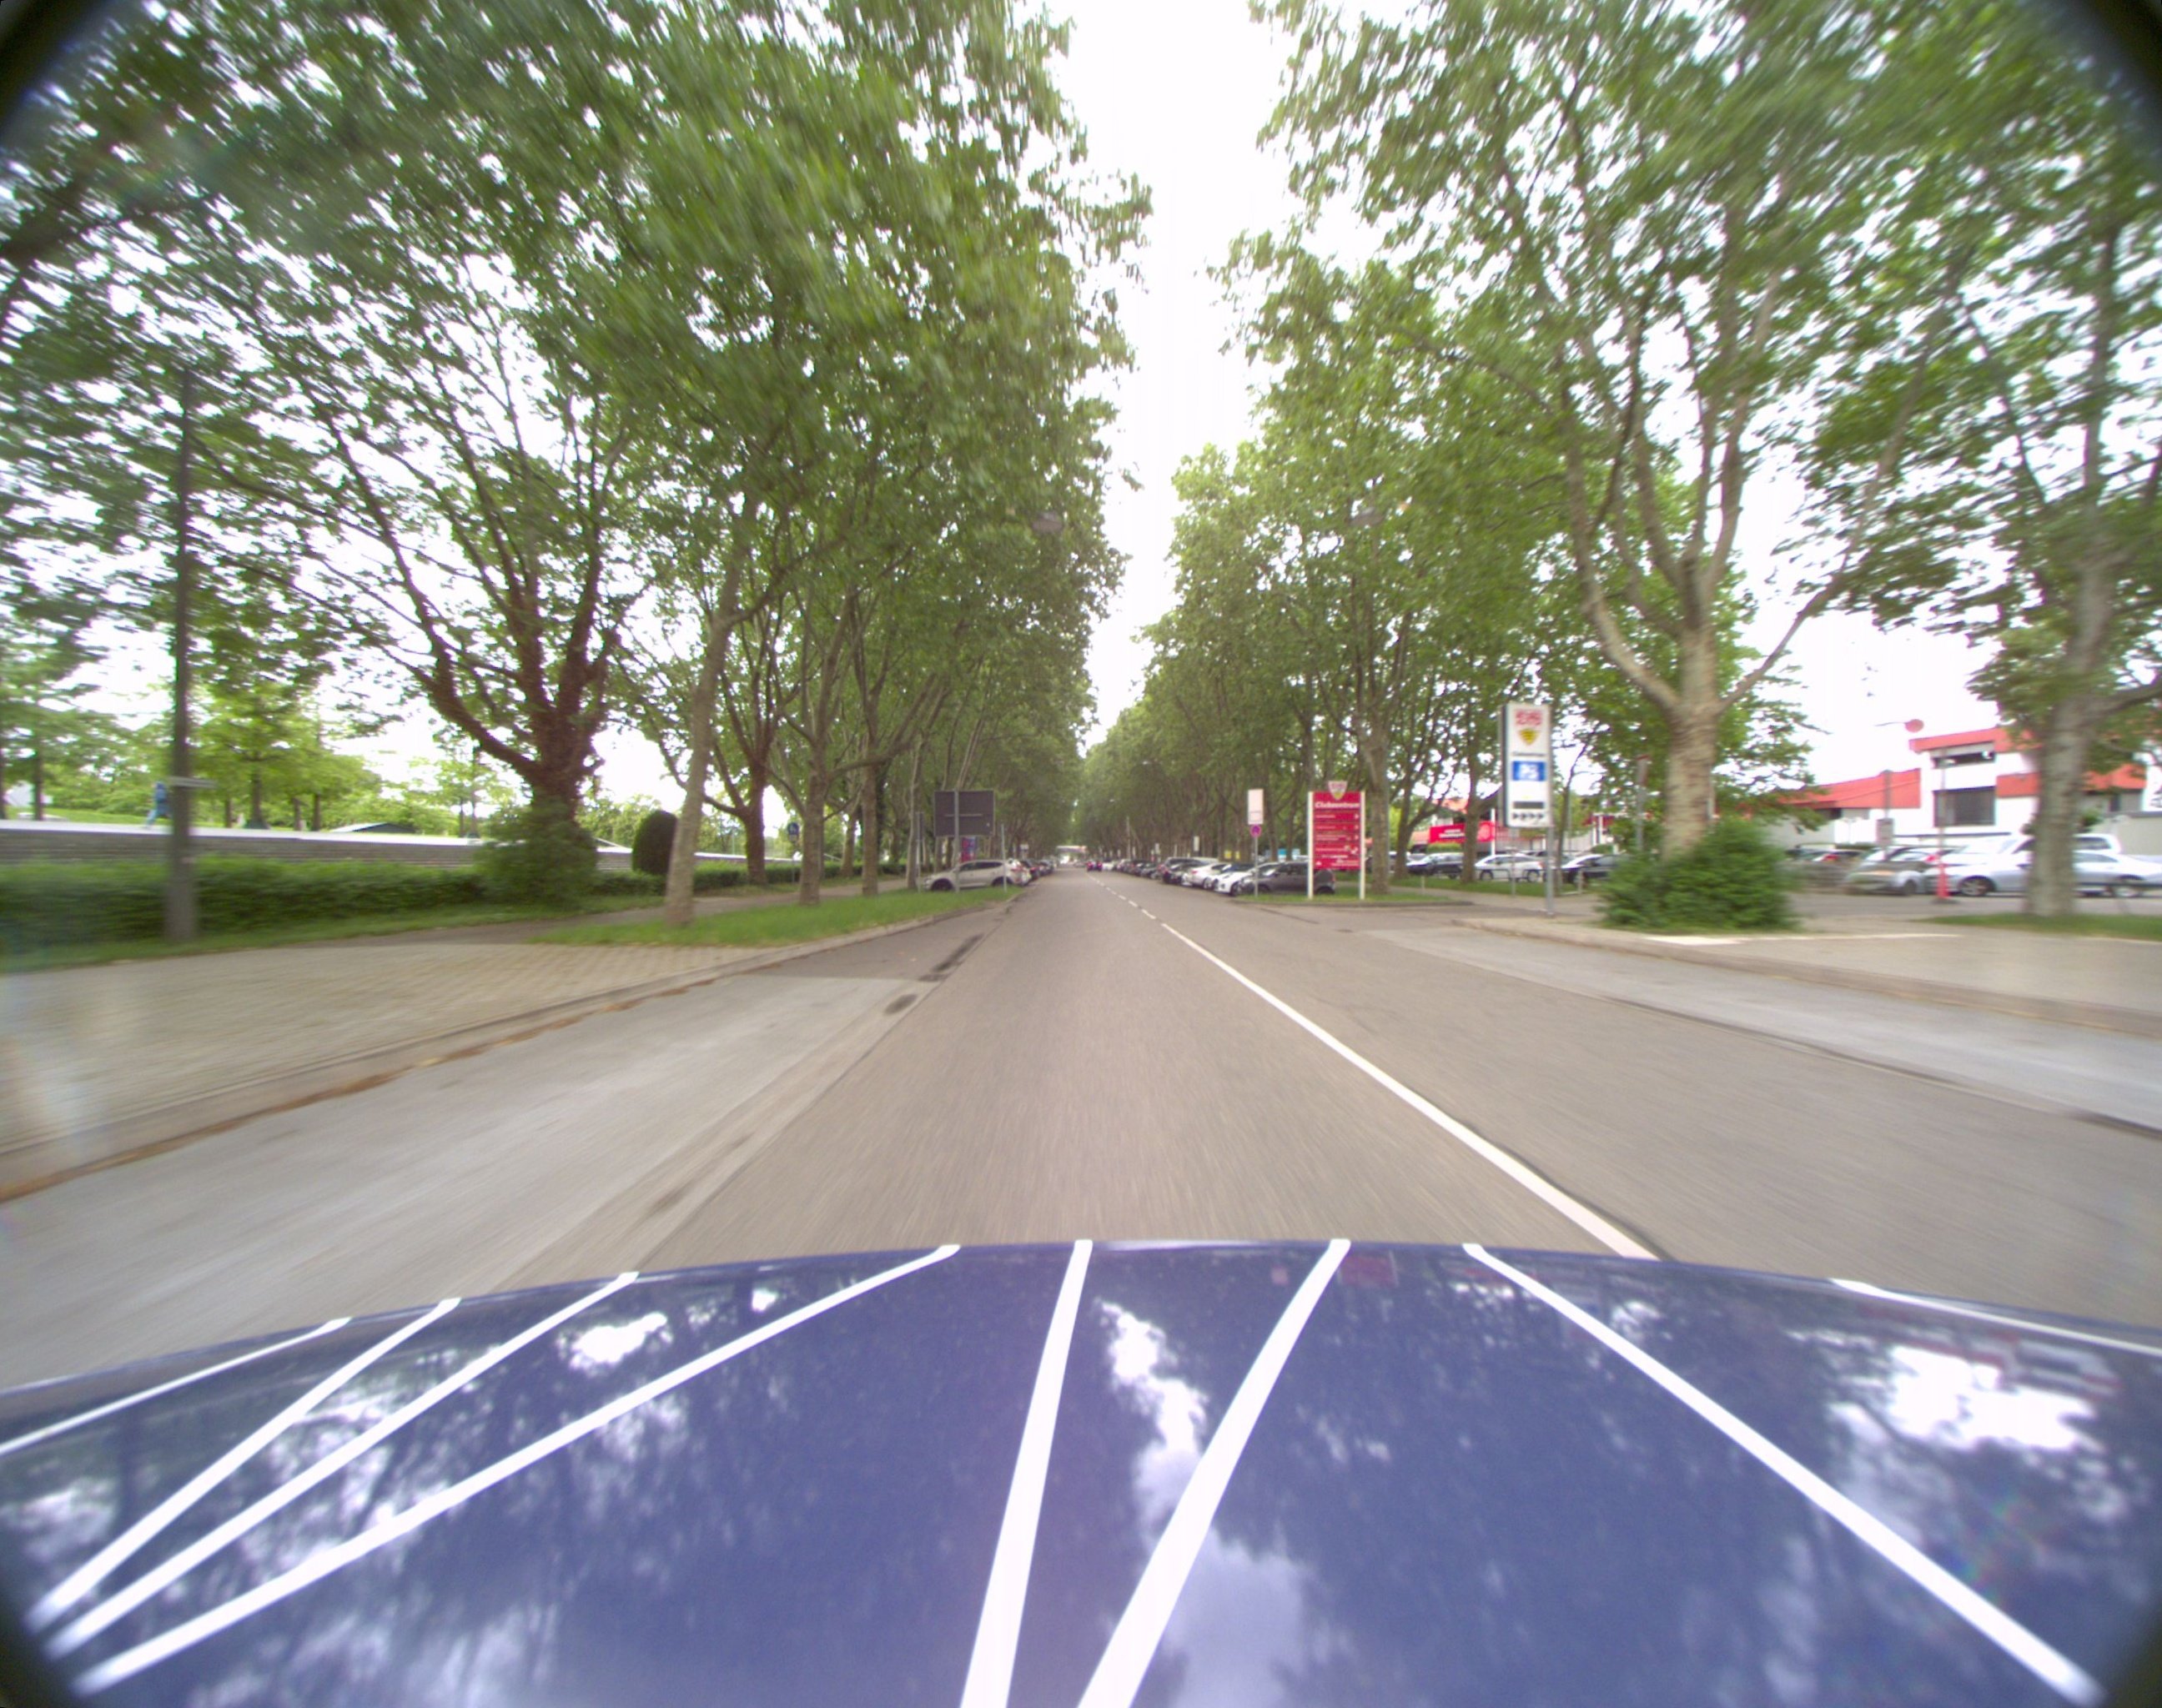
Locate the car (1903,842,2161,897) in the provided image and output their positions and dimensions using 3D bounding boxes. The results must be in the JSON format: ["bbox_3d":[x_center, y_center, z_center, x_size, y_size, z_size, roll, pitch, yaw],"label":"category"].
[{"bbox_3d":[29.325,0.467,23.489,4.964,1.543,2.104,-1,1,34],"label":"car"}]

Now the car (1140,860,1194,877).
[{"bbox_3d":[7.587,1.237,67.251,4.475,1.358,1.859,2,0,-2],"label":"car"}]

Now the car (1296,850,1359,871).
[{"bbox_3d":[22.291,0.600,68.883,4.955,1.786,2.182,0,0,-3],"label":"car"}]

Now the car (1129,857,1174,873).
[{"bbox_3d":[6.453,0.968,69.883,3.941,1.390,1.703,1,0,-2],"label":"car"}]

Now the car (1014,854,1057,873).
[{"bbox_3d":[-4.900,1.015,81.833,4.507,1.786,2.047,-2,0,-1],"label":"car"}]

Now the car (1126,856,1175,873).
[{"bbox_3d":[6.594,1.008,72.338,4.475,1.473,1.703,1,0,-2],"label":"car"}]

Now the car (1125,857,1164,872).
[{"bbox_3d":[6.672,1.126,79.983,3.940,1.507,1.728,1,0,0],"label":"car"}]

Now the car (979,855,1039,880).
[{"bbox_3d":[-5.429,1.017,57.449,4.358,1.735,1.836,-2,0,-3],"label":"car"}]

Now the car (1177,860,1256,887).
[{"bbox_3d":[7.549,1.078,42.546,3.998,1.396,1.885,-1,1,-2],"label":"car"}]

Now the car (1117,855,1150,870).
[{"bbox_3d":[6.535,1.065,95.033,3.997,1.672,1.855,-1,1,0],"label":"car"}]

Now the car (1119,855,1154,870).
[{"bbox_3d":[6.566,1.037,90.145,3.997,1.672,1.855,-1,1,0],"label":"car"}]

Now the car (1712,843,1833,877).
[{"bbox_3d":[34.395,0.291,37.868,4.332,1.539,1.958,-1,1,-2],"label":"car"}]

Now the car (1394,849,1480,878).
[{"bbox_3d":[23.044,0.622,49.345,4.530,1.752,2.296,-1,1,-2],"label":"car"}]

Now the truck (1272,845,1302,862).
[{"bbox_3d":[33.322,-0.115,123.017,3.998,2.701,2.376,-1,1,-2],"label":"truck"}]

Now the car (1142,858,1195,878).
[{"bbox_3d":[6.876,1.104,60.055,3.988,1.412,1.756,2,0,2],"label":"car"}]

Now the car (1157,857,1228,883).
[{"bbox_3d":[6.906,0.991,47.438,4.139,1.443,2.013,2,0,1],"label":"car"}]

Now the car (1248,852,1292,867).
[{"bbox_3d":[22.014,0.629,88.616,4.565,1.710,1.999,1,0,-3],"label":"car"}]

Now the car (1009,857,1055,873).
[{"bbox_3d":[-4.941,1.093,77.152,4.507,1.420,1.932,-2,0,0],"label":"car"}]

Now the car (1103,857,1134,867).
[{"bbox_3d":[5.480,1.162,112.201,4.420,1.416,1.775,1,0,-2],"label":"car"}]

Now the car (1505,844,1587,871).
[{"bbox_3d":[34.050,0.247,55.714,4.588,1.844,2.297,-1,1,4],"label":"car"}]

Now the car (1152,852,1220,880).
[{"bbox_3d":[7.186,0.799,52.399,4.330,1.799,1.867,1,0,-5],"label":"car"}]

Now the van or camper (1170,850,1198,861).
[{"bbox_3d":[21.249,0.256,156.590,5.300,2.087,2.243,-1,1,-3],"label":"van or camper"}]

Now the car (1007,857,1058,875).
[{"bbox_3d":[-4.335,1.111,68.806,4.356,1.493,1.926,-2,0,2],"label":"car"}]

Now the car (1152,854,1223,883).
[{"bbox_3d":[6.953,0.934,49.880,4.328,1.784,2.036,-1,1,-1],"label":"car"}]

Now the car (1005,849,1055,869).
[{"bbox_3d":[-4.807,0.494,72.141,4.505,1.786,2.048,-2,0,3],"label":"car"}]

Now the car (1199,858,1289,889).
[{"bbox_3d":[7.914,0.933,37.186,3.997,1.397,1.861,-1,1,-1],"label":"car"}]

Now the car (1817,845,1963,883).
[{"bbox_3d":[35.088,0.412,33.027,4.332,1.539,1.958,-1,1,-2],"label":"car"}]

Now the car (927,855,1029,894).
[{"bbox_3d":[-4.659,0.916,34.880,4.357,1.624,1.925,-2,0,-1],"label":"car"}]

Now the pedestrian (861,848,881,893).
[{"bbox_3d":[-9.560,0.755,34.598,0.788,2.002,0.598,-1,1,-17],"label":"pedestrian"}]

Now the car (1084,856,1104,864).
[{"bbox_3d":[3.125,1.447,179.883,4.492,1.740,2.000,-3,0,4],"label":"car"}]

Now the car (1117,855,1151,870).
[{"bbox_3d":[6.387,1.026,92.605,3.997,1.672,1.855,-1,1,0],"label":"car"}]

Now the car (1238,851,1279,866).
[{"bbox_3d":[21.944,0.603,94.135,4.565,1.710,1.999,1,0,-3],"label":"car"}]

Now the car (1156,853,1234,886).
[{"bbox_3d":[6.788,0.914,45.421,4.329,1.799,1.867,1,0,-1],"label":"car"}]

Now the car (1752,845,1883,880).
[{"bbox_3d":[34.364,0.376,35.545,4.332,1.539,1.958,-1,1,-2],"label":"car"}]

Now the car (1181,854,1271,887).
[{"bbox_3d":[7.555,0.834,39.921,4.275,1.539,1.907,2,0,-3],"label":"car"}]

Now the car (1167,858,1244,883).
[{"bbox_3d":[7.339,0.963,45.020,4.201,1.346,1.966,-1,1,-3],"label":"car"}]

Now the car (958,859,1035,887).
[{"bbox_3d":[-4.927,1.108,44.868,4.358,1.447,1.949,-2,0,-3],"label":"car"}]

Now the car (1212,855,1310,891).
[{"bbox_3d":[8.187,0.849,34.792,4.004,1.485,1.832,-1,1,-1],"label":"car"}]

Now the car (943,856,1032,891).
[{"bbox_3d":[-4.851,1.020,39.931,4.357,1.624,1.925,-2,0,-1],"label":"car"}]

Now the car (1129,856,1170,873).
[{"bbox_3d":[6.999,1.057,77.492,3.941,1.698,1.752,1,0,-2],"label":"car"}]

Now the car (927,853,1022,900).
[{"bbox_3d":[-4.822,1.009,34.844,3.997,2.002,2.000,-2,0,-1],"label":"car"}]

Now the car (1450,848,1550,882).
[{"bbox_3d":[22.988,0.585,41.836,4.332,1.699,2.131,-1,1,-2],"label":"car"}]

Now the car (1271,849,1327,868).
[{"bbox_3d":[21.938,0.406,76.634,4.955,1.786,2.182,-1,1,-3],"label":"car"}]

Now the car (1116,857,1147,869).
[{"bbox_3d":[6.614,1.191,99.974,3.997,1.444,1.855,-1,1,0],"label":"car"}]

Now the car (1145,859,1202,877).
[{"bbox_3d":[7.582,1.128,62.504,4.475,1.361,1.880,1,0,-1],"label":"car"}]

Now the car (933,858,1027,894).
[{"bbox_3d":[-4.921,1.053,37.497,4.357,1.595,1.925,-2,0,-1],"label":"car"}]

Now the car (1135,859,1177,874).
[{"bbox_3d":[7.346,1.218,74.827,3.941,1.356,1.826,1,0,-2],"label":"car"}]

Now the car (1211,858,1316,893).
[{"bbox_3d":[7.676,0.888,32.252,4.003,1.377,1.912,-1,1,3],"label":"car"}]

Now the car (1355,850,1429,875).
[{"bbox_3d":[23.002,0.631,56.299,4.564,1.715,2.296,-1,1,-2],"label":"car"}]

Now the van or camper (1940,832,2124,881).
[{"bbox_3d":[35.318,0.084,28.309,4.332,1.699,2.131,-1,1,-2],"label":"van or camper"}]

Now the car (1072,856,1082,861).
[{"bbox_3d":[-1.092,1.260,206.089,1.999,1.375,4.677,-3,0,-6],"label":"car"}]

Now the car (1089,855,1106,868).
[{"bbox_3d":[2.108,0.953,97.262,1.847,1.501,4.014,-1,0,-2],"label":"car"}]

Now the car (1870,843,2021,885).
[{"bbox_3d":[34.876,0.378,30.713,4.229,1.539,1.789,-1,1,-2],"label":"car"}]

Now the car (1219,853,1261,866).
[{"bbox_3d":[22.181,0.759,106.094,5.363,1.587,2.094,-1,1,-2],"label":"car"}]

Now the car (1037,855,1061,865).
[{"bbox_3d":[-6.641,1.343,159.444,4.674,1.891,2.000,-3,0,4],"label":"car"}]

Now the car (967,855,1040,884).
[{"bbox_3d":[-4.753,0.929,47.234,4.358,1.750,1.925,0,0,-2],"label":"car"}]

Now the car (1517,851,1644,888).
[{"bbox_3d":[22.619,0.682,34.549,4.332,1.539,2.203,-1,1,-2],"label":"car"}]

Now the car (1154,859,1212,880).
[{"bbox_3d":[7.373,1.116,55.103,3.796,1.463,1.763,1,0,-12],"label":"car"}]

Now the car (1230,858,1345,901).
[{"bbox_3d":[8.052,0.971,29.847,4.004,1.531,1.805,-1,1,1],"label":"car"}]
